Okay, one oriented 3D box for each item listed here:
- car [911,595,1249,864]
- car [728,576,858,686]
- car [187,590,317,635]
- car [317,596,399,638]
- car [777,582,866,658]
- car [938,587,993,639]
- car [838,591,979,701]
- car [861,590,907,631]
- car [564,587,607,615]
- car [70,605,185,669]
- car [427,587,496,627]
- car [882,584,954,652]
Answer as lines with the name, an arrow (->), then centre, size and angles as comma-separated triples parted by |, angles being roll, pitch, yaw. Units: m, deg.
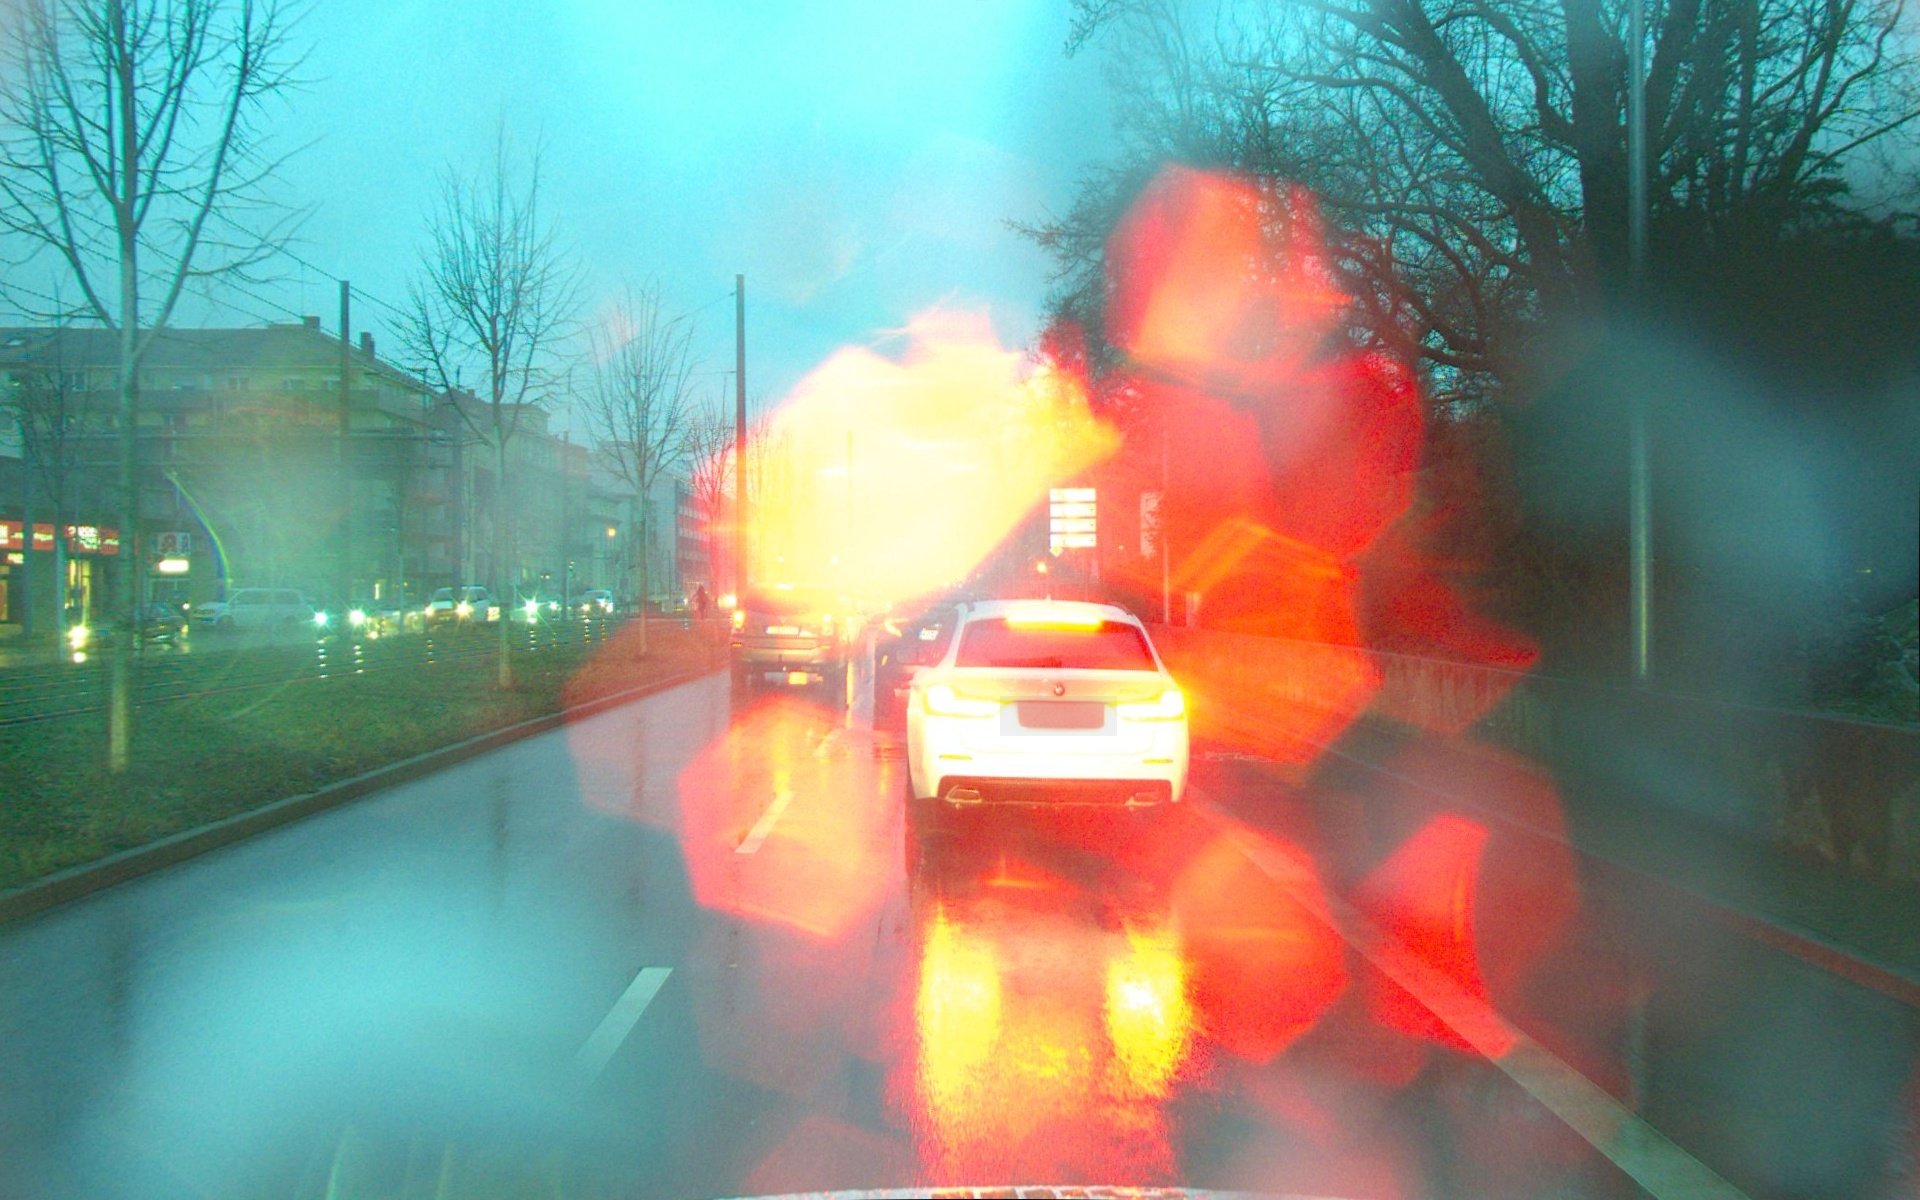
car -> 0.683, 0.751, 11.706 | 1.958, 1.534, 4.163 | 1, 0, -1
car -> -2.707, 0.465, 27.580 | 1.770, 1.674, 4.000 | 1, 0, 0
car -> -32.228, 0.541, 75.400 | 1.966, 1.945, 5.128 | 0, 0, 44
car -> -21.933, 0.611, 60.402 | 1.858, 1.456, 3.703 | 0, 0, -4
car -> -3.431, 0.477, 41.590 | 1.953, 1.785, 3.999 | 1, 0, -1
car -> 0.158, 0.408, 55.878 | 1.770, 1.674, 4.000 | 1, 0, 0
car -> -0.714, 0.612, 24.497 | 1.896, 1.483, 4.163 | 1, 0, -1
car -> -3.238, 0.442, 71.171 | 1.770, 1.674, 4.000 | 1, 0, 0
car -> -24.304, 0.035, 107.478 | 1.858, 1.749, 4.914 | 0, 0, -2
car -> -26.209, 1.133, 52.205 | 1.687, 1.918, 3.925 | 0, 0, -1
car -> -22.883, 0.298, 76.080 | 1.858, 1.749, 5.114 | 0, 0, -3
car -> -1.067, 0.430, 43.182 | 1.770, 1.674, 4.000 | 1, 0, 0
